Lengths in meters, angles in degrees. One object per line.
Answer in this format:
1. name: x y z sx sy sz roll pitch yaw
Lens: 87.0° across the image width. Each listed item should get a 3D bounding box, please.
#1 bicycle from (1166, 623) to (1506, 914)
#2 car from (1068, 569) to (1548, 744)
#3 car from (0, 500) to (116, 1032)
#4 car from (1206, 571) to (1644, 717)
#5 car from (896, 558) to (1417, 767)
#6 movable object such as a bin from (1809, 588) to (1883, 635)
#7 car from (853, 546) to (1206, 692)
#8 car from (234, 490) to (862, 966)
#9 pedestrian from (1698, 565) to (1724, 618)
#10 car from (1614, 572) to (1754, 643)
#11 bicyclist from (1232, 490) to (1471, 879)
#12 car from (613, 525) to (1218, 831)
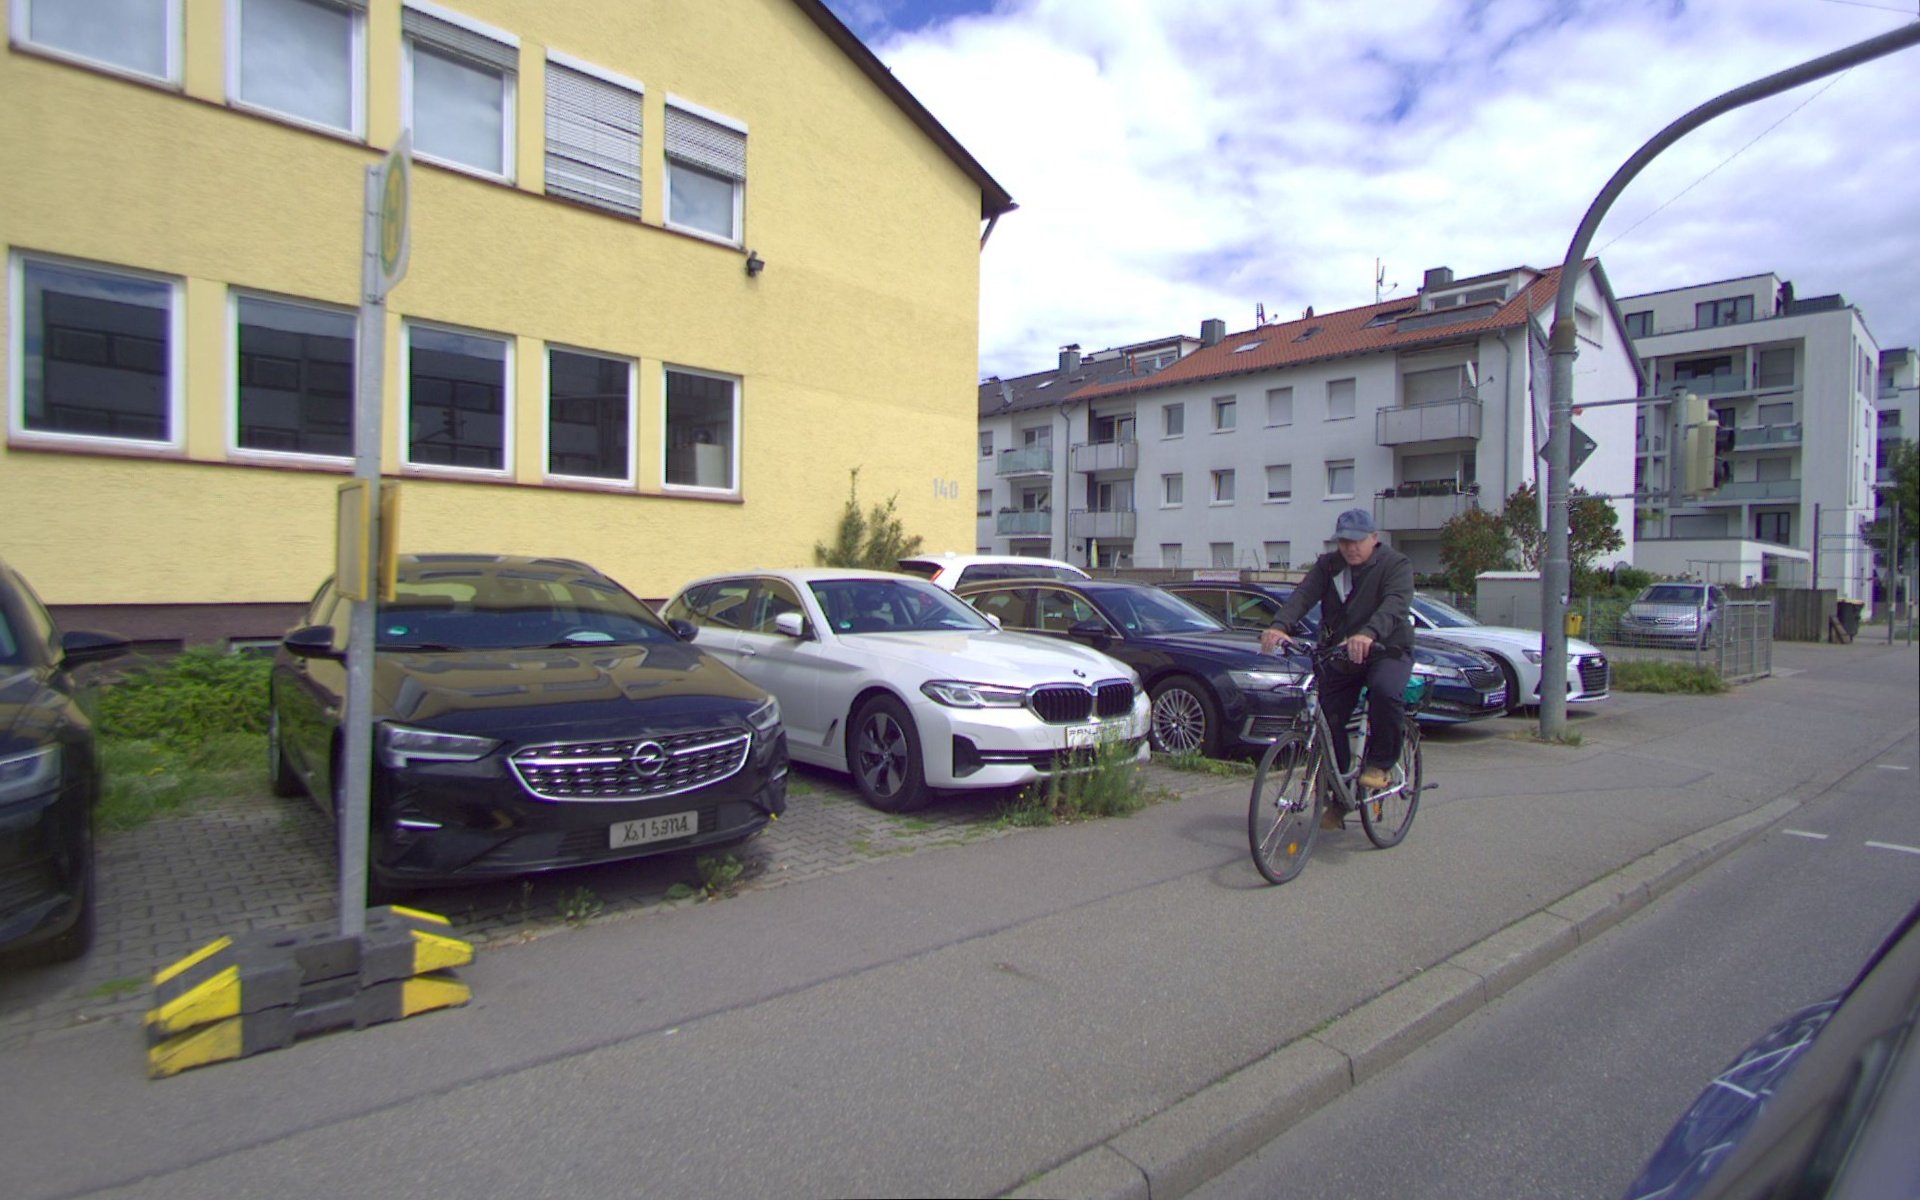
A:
1. bicycle: 1.898 0.700 4.939 1.943 1.076 0.639 0 5 -41
2. car: 3.580 0.444 11.181 1.999 1.512 4.667 0 1 -41
3. car: -4.751 0.468 4.129 2.002 1.448 4.861 0 0 -40
4. car: 5.704 0.430 12.938 2.010 1.512 4.704 1 0 -41
5. car: 1.536 0.429 9.182 1.954 1.422 4.374 0 0 -42
6. movable object such as a bin: 27.524 0.326 31.450 1.225 1.378 1.326 -1 2 -25
7. car: 1.095 0.167 14.865 4.931 1.843 1.985 -1 2 -31
8. car: -2.673 0.409 5.673 1.979 1.512 4.686 0 0 -39
9. pedestrian: 25.665 -0.281 34.578 0.490 1.787 0.509 -1 0 -24
10. car: 17.853 0.138 24.873 4.444 1.564 1.878 0 2 -42
11. bicyclist: 1.900 0.348 4.912 0.874 1.695 0.639 0 4 -41
12. car: -0.698 0.388 7.465 1.995 1.499 4.810 0 0 -39
